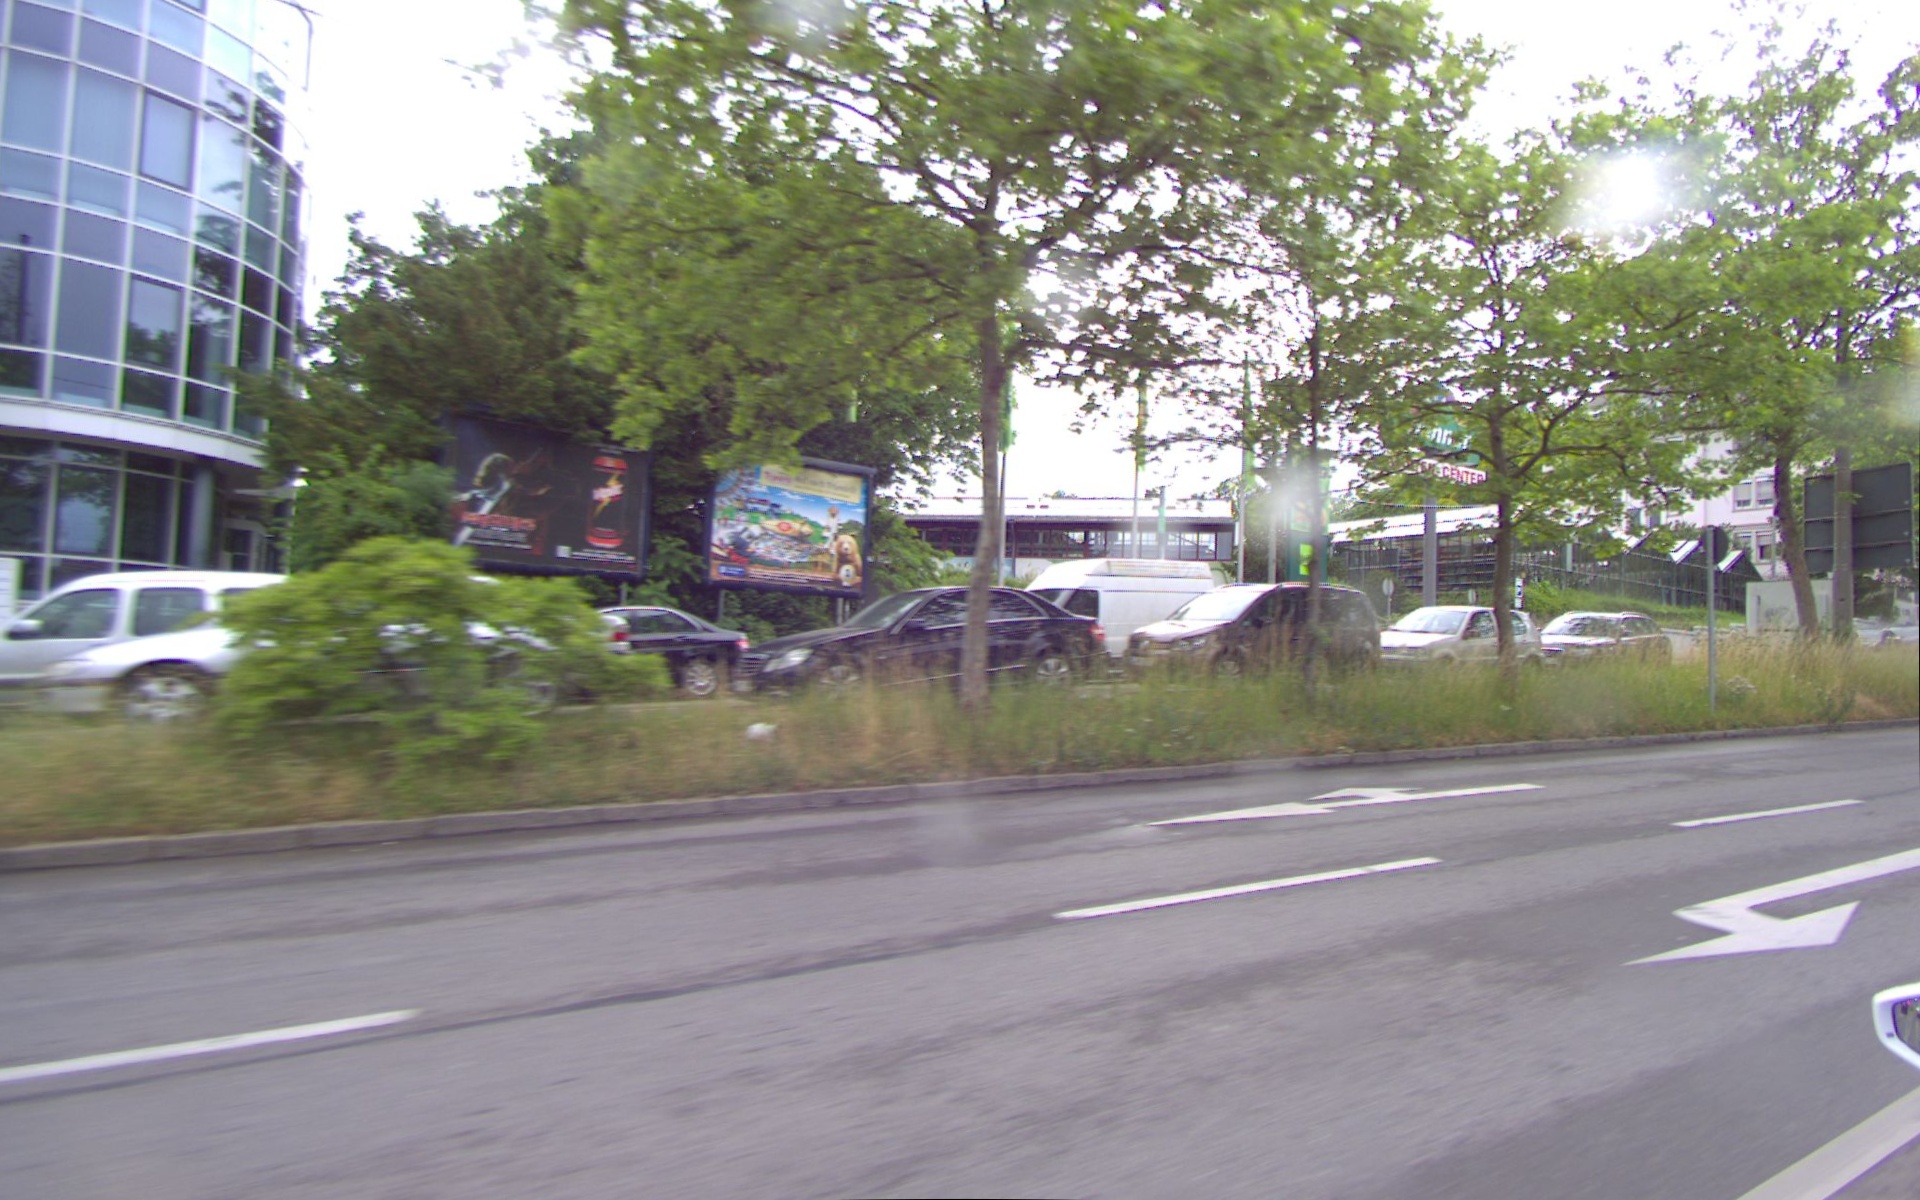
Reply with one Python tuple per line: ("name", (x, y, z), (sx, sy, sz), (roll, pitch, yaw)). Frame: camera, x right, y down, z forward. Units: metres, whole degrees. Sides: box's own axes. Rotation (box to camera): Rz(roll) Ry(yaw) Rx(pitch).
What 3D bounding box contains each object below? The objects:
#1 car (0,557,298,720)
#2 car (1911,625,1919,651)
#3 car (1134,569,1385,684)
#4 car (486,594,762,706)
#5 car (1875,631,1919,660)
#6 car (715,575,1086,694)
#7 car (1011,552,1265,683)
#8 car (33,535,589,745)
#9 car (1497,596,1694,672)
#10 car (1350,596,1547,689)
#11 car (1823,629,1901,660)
("car", (-9.925, 0.433, 11.603), (3.739, 1.718, 1.583), (1, -2, -32))
("car", (51.756, 2.040, 53.126), (3.051, 1.326, 1.353), (4, -4, -31))
("car", (4.561, 0.460, 15.165), (3.606, 1.471, 1.645), (4, -4, -32))
("car", (-5.050, 0.793, 15.212), (3.643, 1.475, 1.621), (4, -4, -32))
("car", (47.145, 2.301, 50.126), (3.271, 1.307, 1.455), (4, -4, -34))
("car", (-0.655, 0.423, 12.078), (4.169, 1.221, 1.690), (1, -2, -30))
("car", (3.885, 0.390, 21.437), (5.598, 2.475, 1.951), (1, -2, -35))
("car", (-5.618, 0.339, 9.196), (3.948, 1.560, 1.583), (1, -2, -32))
("car", (13.021, 0.735, 20.492), (4.492, 1.309, 1.530), (4, -4, -30))
("car", (8.551, 0.771, 17.490), (3.667, 1.413, 1.353), (4, -4, -32))
("car", (42.690, 2.121, 47.545), (4.079, 1.307, 1.805), (4, -4, -34))
